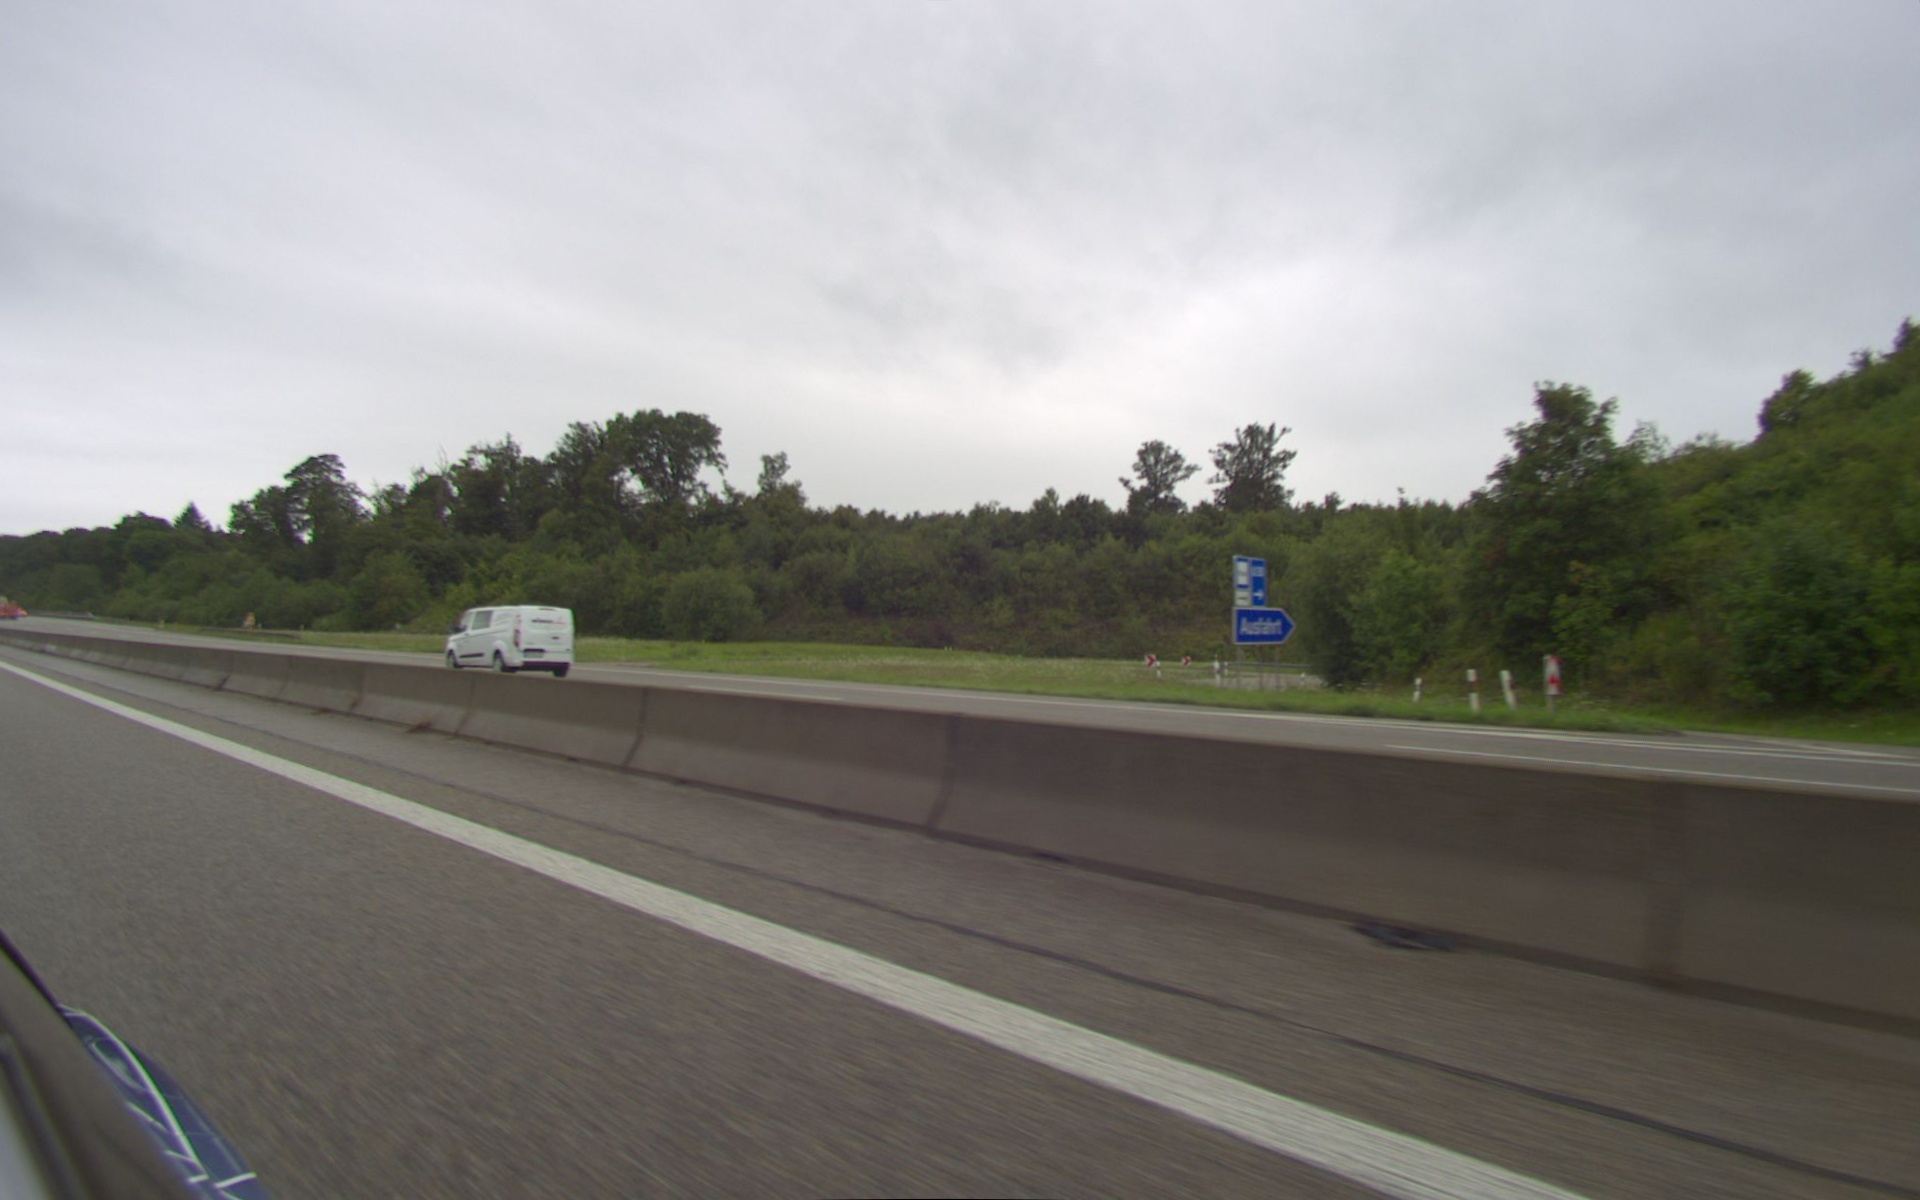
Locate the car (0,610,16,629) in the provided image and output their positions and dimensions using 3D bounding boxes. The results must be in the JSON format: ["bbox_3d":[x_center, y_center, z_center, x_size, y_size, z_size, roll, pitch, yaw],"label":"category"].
[{"bbox_3d":[-160.590,3.249,170.190,5.975,3.066,2.157,-1,-1,42],"label":"car"}]

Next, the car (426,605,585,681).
[{"bbox_3d":[-13.426,1.244,29.709,5.758,2.029,1.973,-1,-4,41],"label":"car"}]
